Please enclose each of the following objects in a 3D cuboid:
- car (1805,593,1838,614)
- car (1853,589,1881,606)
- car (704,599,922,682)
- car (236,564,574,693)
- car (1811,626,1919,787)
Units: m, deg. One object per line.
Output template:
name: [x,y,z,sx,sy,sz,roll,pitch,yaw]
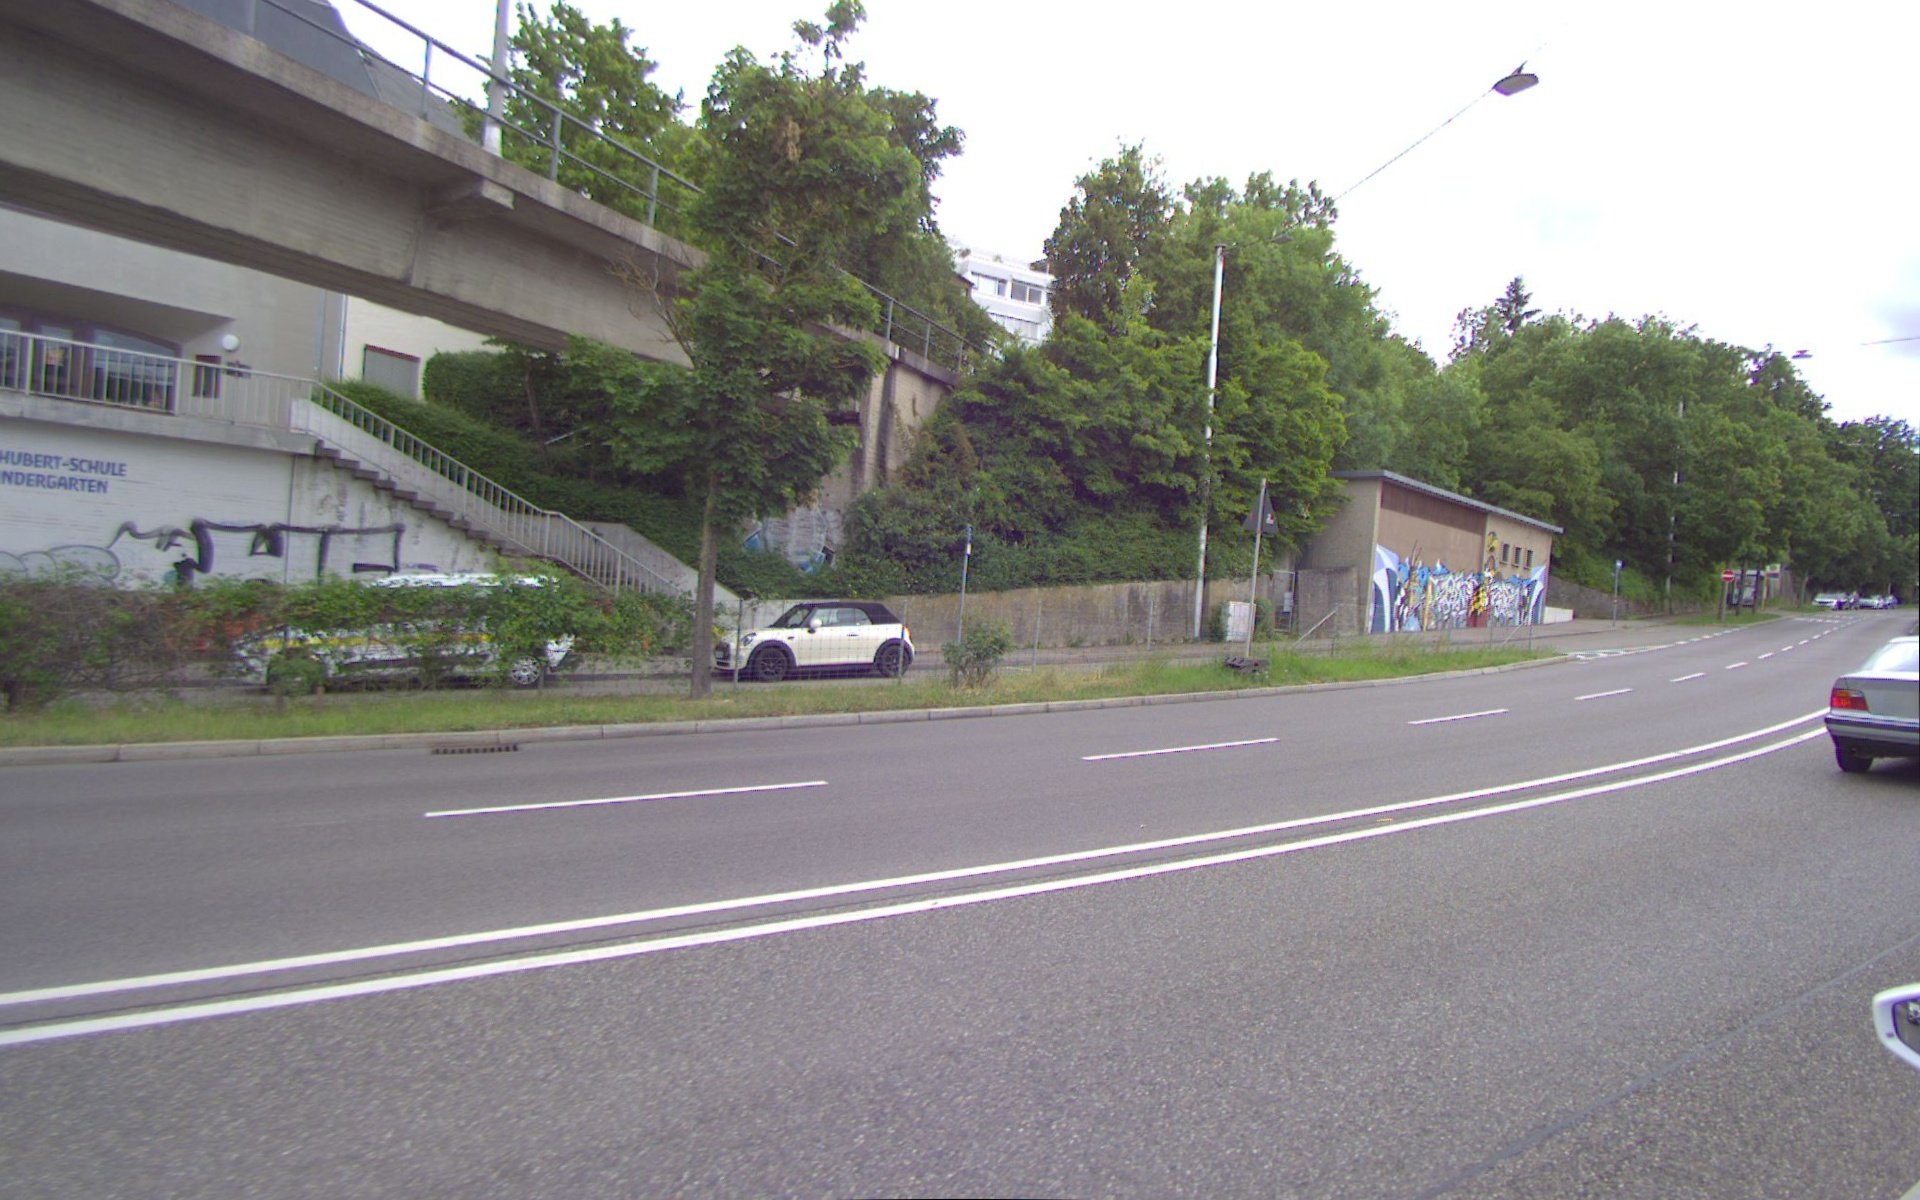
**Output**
car: [79.712,0.295,92.910,4.250,1.693,1.841,-1,6,-44]
car: [96.882,-0.242,107.253,4.250,1.615,1.841,-1,6,-44]
car: [-2.802,0.736,19.271,3.757,1.438,1.759,1,0,-29]
car: [-8.568,0.450,15.868,4.410,1.809,1.759,1,-1,-29]
car: [10.409,1.021,10.145,4.573,1.401,1.624,2,-1,-34]
